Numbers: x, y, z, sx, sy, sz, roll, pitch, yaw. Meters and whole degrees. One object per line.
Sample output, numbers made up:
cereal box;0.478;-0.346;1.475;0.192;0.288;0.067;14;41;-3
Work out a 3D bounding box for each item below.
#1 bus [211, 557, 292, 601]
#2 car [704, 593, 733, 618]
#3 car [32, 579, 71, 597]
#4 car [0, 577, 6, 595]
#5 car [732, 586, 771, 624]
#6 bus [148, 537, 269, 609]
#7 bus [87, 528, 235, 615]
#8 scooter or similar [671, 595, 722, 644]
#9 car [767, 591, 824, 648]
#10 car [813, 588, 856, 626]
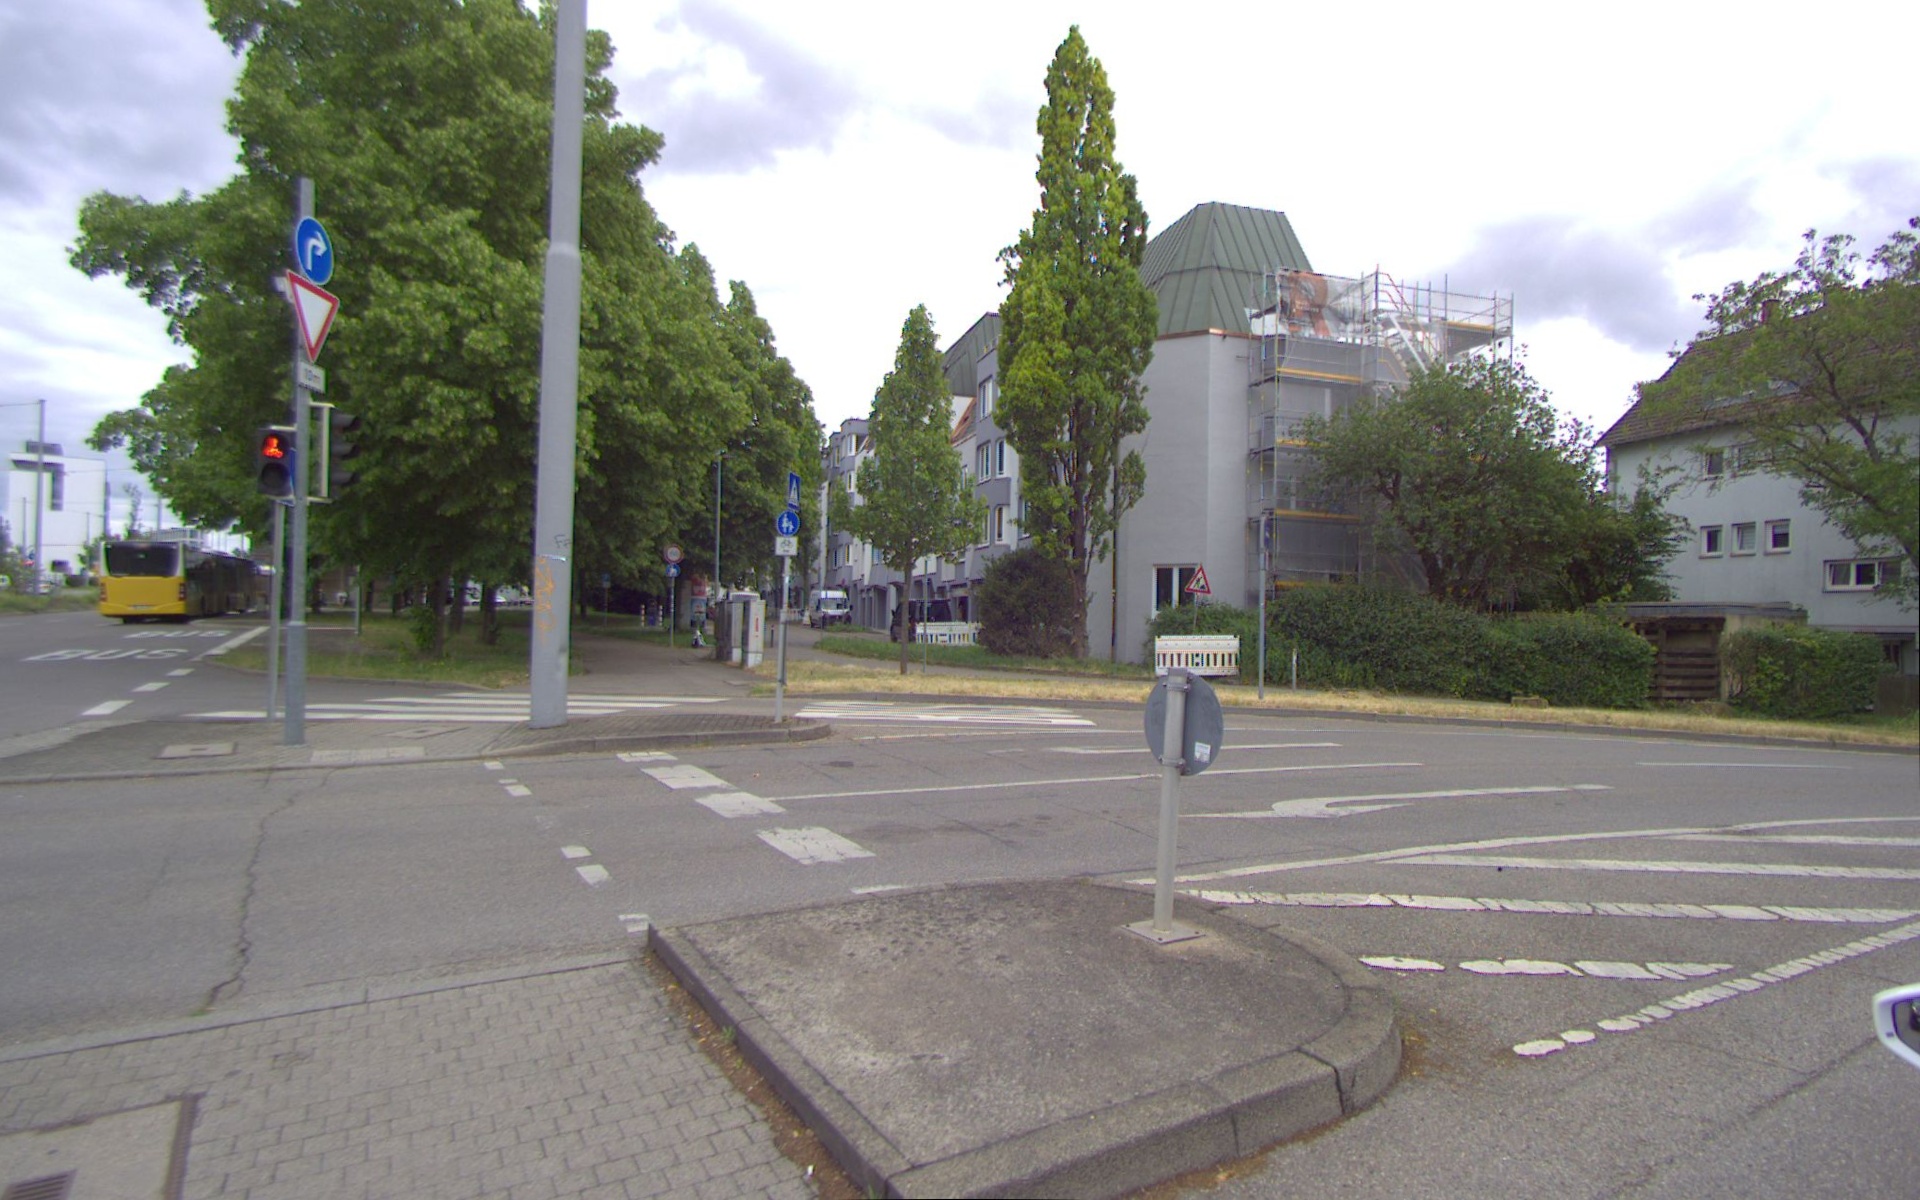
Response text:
bus;-54.110;-1.599;76.993;3.252;3.049;10.166;1;1;-25
car;-20.248;0.427;84.282;1.964;1.965;4.583;1;1;-10
car;-84.708;-1.161;93.652;1.727;1.549;3.724;1;1;-27
car;-99.691;-1.458;103.004;1.979;1.840;3.963;1;1;-33
car;-12.729;0.250;61.166;2.182;2.145;5.292;1;1;-13
bus;-35.810;-1.273;48.259;3.015;3.049;9.627;1;1;-27
bus;-31.702;-1.085;40.260;3.015;3.049;8.369;1;1;-27
scooter or similar;-8.209;0.593;31.302;1.563;1.465;0.555;2;1;28
car;-5.479;0.624;33.171;1.619;1.691;3.941;3;-1;-12
car;-8.394;0.432;66.547;2.278;2.284;5.478;1;1;-13
